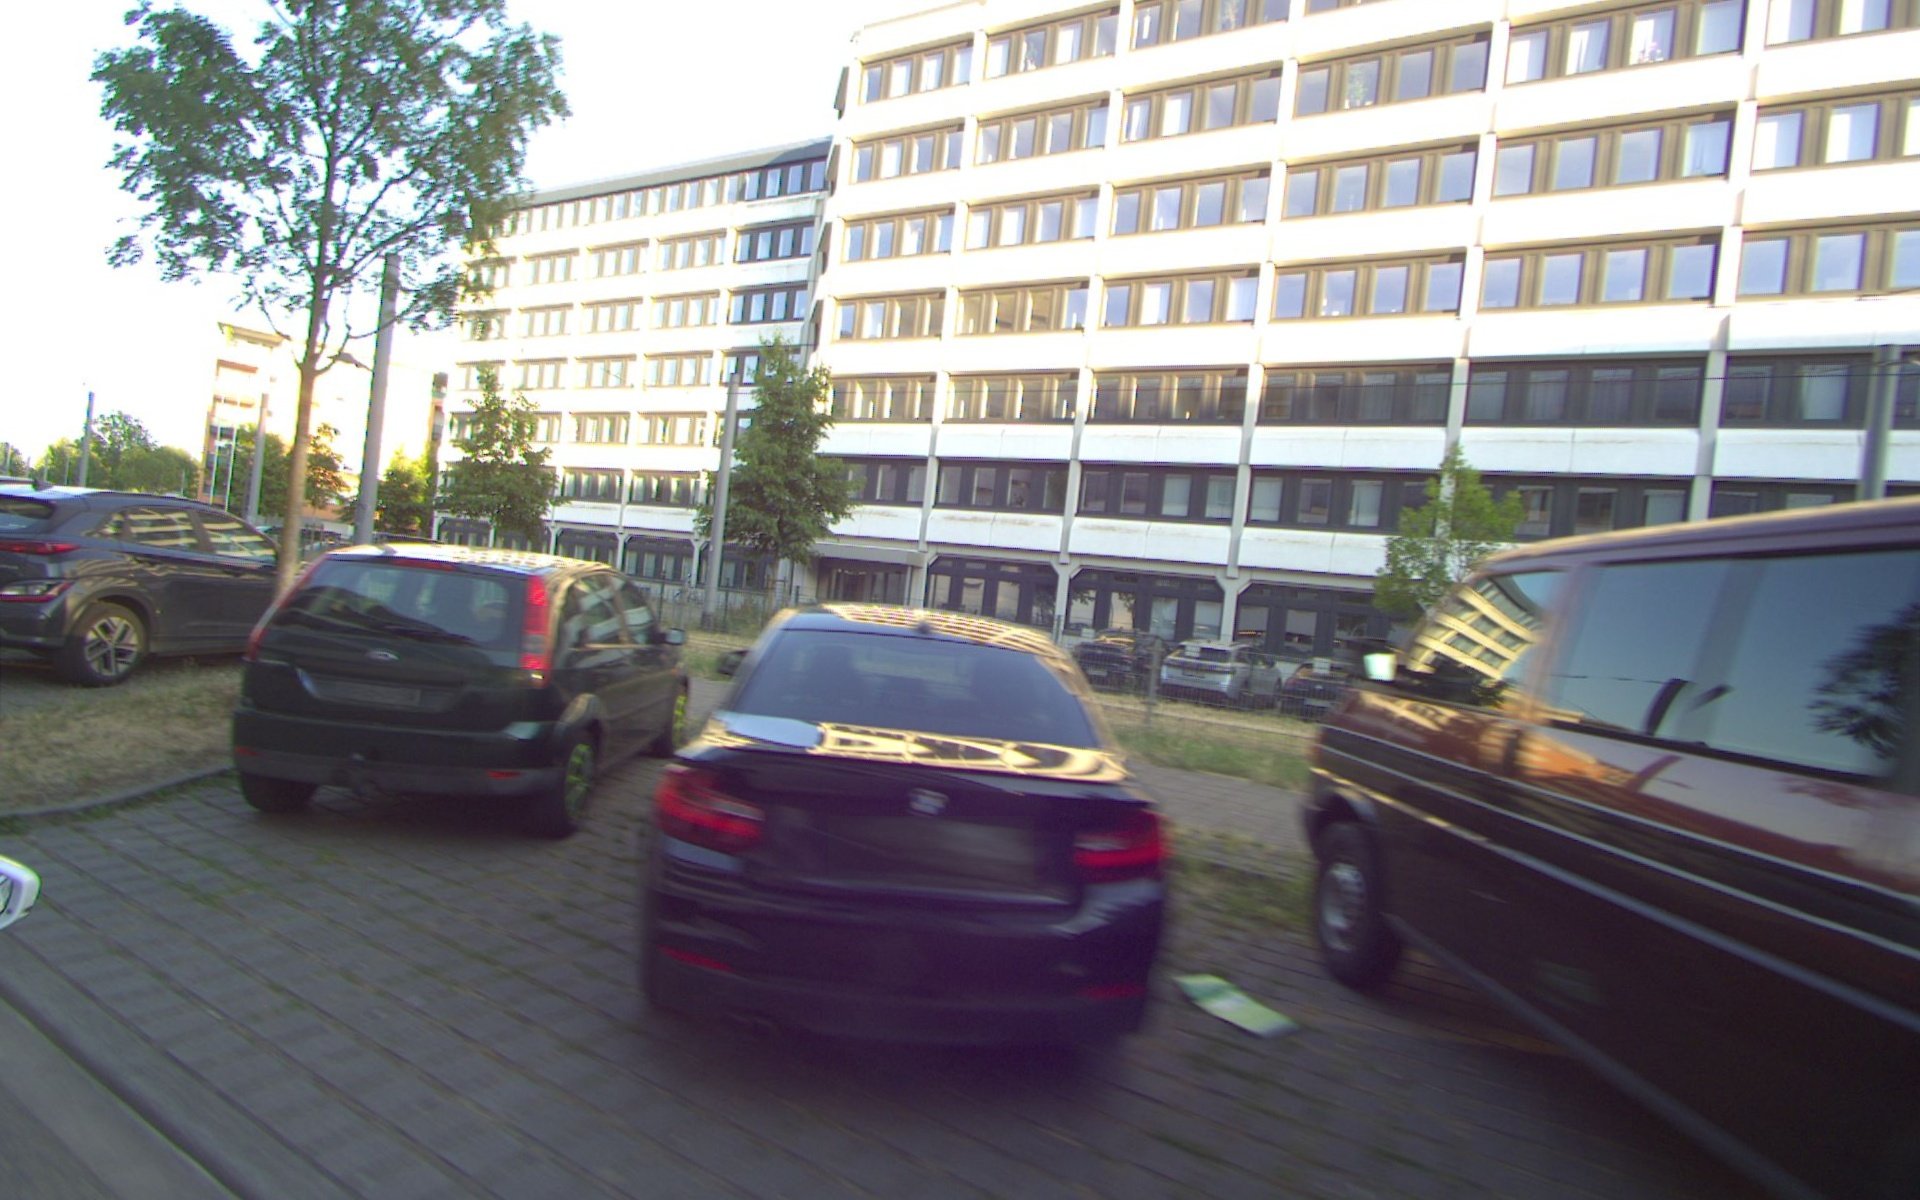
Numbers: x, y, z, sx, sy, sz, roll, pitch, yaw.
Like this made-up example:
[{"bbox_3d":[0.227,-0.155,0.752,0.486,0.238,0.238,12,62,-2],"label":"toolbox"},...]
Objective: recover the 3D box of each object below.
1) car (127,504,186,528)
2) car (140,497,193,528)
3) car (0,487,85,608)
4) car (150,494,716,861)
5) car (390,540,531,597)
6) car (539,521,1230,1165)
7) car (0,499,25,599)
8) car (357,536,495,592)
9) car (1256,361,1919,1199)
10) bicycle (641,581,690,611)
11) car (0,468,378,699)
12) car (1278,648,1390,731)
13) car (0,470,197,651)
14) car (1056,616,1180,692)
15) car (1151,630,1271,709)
[{"bbox_3d":[-76.571,-8.005,95.945,4.127,1.595,1.688,7,0,-34],"label":"car"},{"bbox_3d":[-83.174,-9.144,105.495,4.132,2.616,1.686,7,0,-38],"label":"car"},{"bbox_3d":[-13.203,-0.751,12.011,1.920,1.529,3.930,6,1,1],"label":"car"},{"bbox_3d":[-2.852,0.408,6.495,1.732,1.459,3.778,8,-2,-4],"label":"car"},{"bbox_3d":[-18.858,-1.153,38.192,1.665,1.622,4.502,6,-1,31],"label":"car"},{"bbox_3d":[-0.321,0.691,4.493,1.610,1.482,3.778,8,-2,-4],"label":"car"},{"bbox_3d":[-15.499,-0.941,13.834,1.657,1.526,3.755,8,-2,-1],"label":"car"},{"bbox_3d":[-20.865,-1.376,39.510,1.665,1.622,4.502,6,-1,31],"label":"car"},{"bbox_3d":[2.645,0.698,2.844,1.838,2.059,4.604,8,-2,-2],"label":"car"},{"bbox_3d":[-15.057,-0.222,51.416,2.391,1.214,0.830,7,-2,31],"label":"bicycle"},{"bbox_3d":[-7.653,-0.216,9.322,1.936,1.661,3.985,6,1,3],"label":"car"},{"bbox_3d":[8.142,1.981,21.682,1.564,1.413,3.998,7,-3,29],"label":"car"},{"bbox_3d":[-10.181,-0.480,10.290,1.731,1.745,3.780,8,-2,-1],"label":"car"},{"bbox_3d":[3.927,1.363,24.426,1.564,1.413,3.998,7,-3,29],"label":"car"},{"bbox_3d":[5.865,1.649,23.183,1.564,1.413,3.998,7,-3,29],"label":"car"}]
